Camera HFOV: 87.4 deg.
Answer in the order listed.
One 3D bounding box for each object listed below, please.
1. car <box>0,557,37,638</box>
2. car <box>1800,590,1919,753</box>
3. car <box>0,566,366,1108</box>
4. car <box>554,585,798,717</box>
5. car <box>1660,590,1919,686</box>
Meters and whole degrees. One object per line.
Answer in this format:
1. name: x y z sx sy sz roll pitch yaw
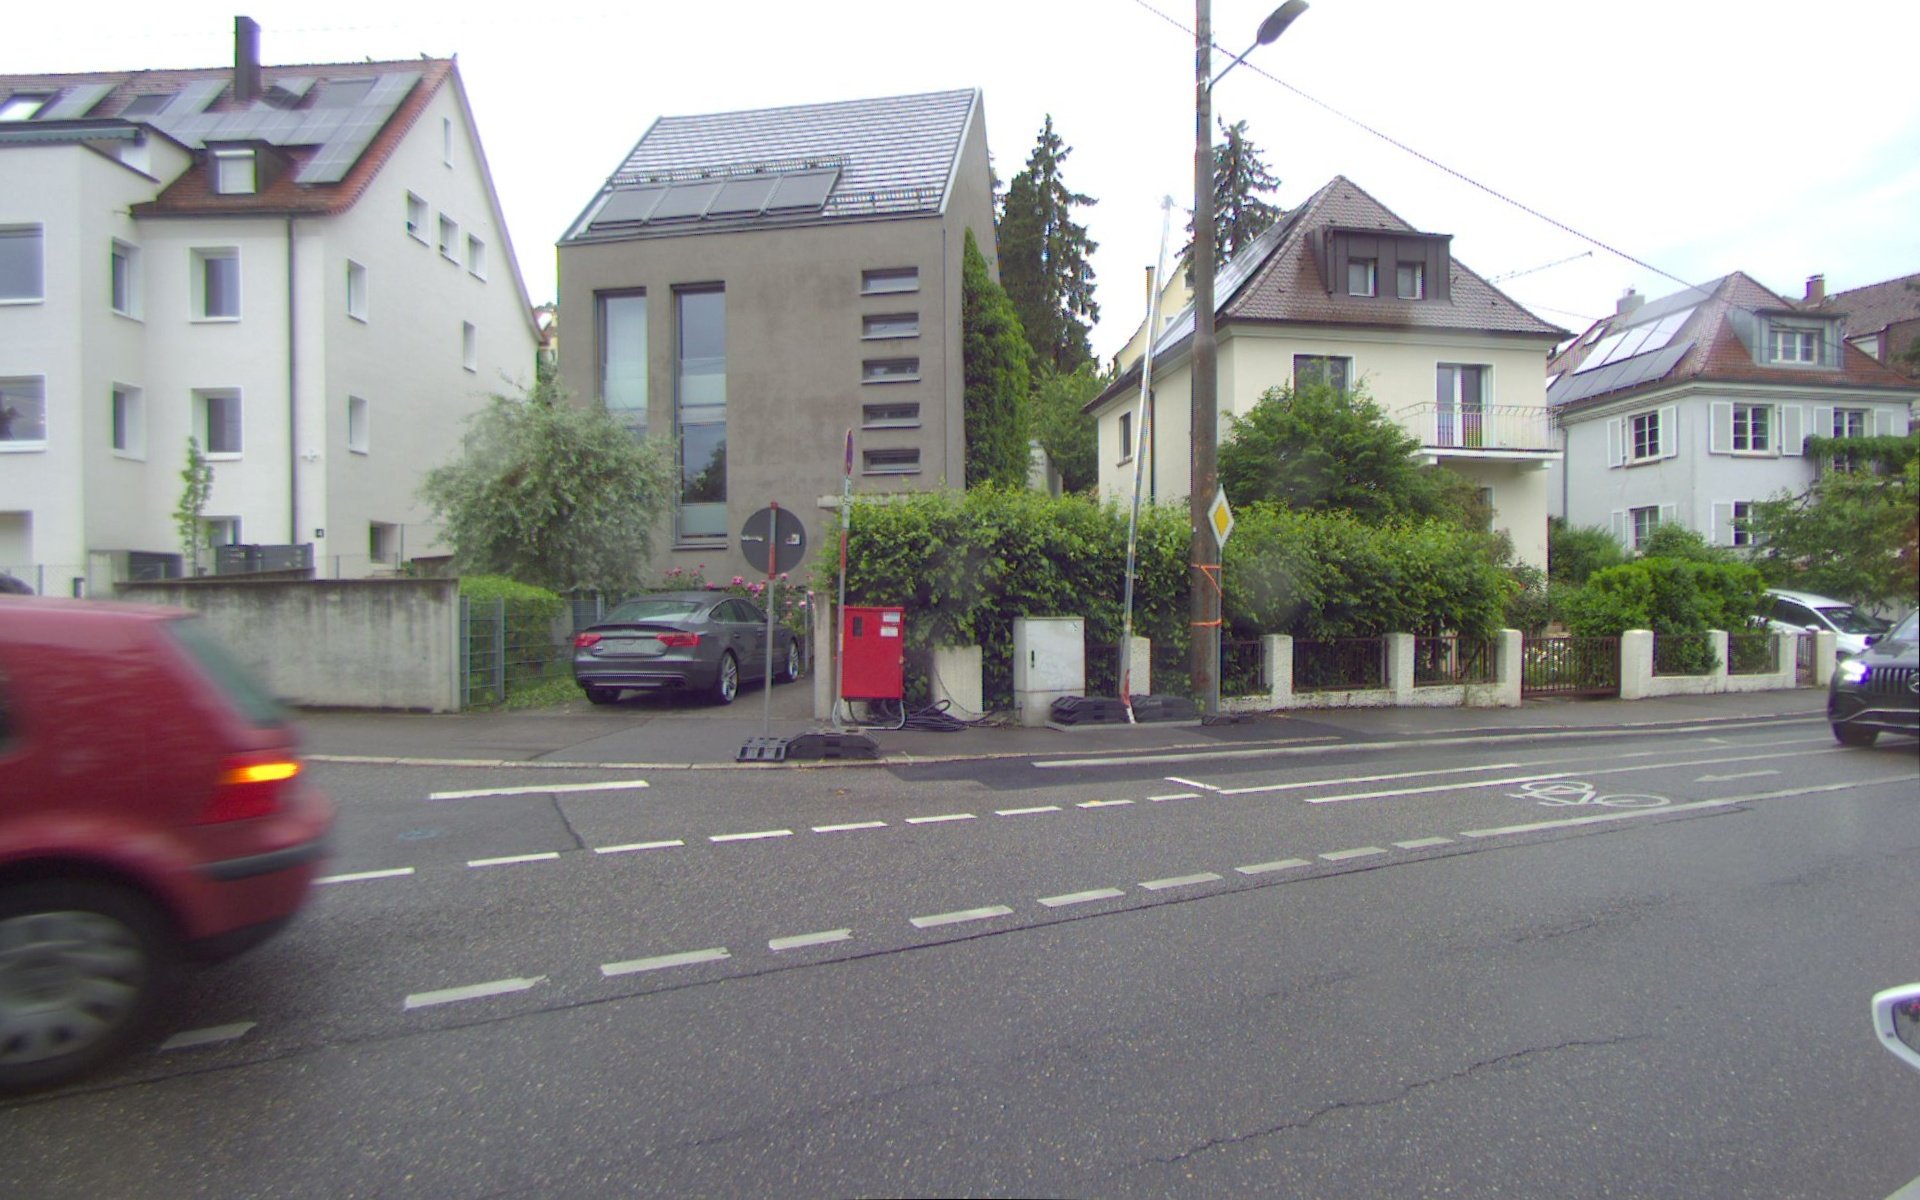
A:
1. car: -16.731 0.046 15.175 1.576 1.298 4.008 2 4 6
2. car: 12.337 0.804 12.086 4.498 1.771 1.970 1 0 -30
3. car: -3.987 0.642 2.882 3.846 1.482 1.753 1 -1 -34
4. car: -3.607 0.560 13.581 1.740 1.506 4.002 0 1 7
5. car: 19.597 0.816 23.916 1.870 2.033 4.628 1 0 -18
